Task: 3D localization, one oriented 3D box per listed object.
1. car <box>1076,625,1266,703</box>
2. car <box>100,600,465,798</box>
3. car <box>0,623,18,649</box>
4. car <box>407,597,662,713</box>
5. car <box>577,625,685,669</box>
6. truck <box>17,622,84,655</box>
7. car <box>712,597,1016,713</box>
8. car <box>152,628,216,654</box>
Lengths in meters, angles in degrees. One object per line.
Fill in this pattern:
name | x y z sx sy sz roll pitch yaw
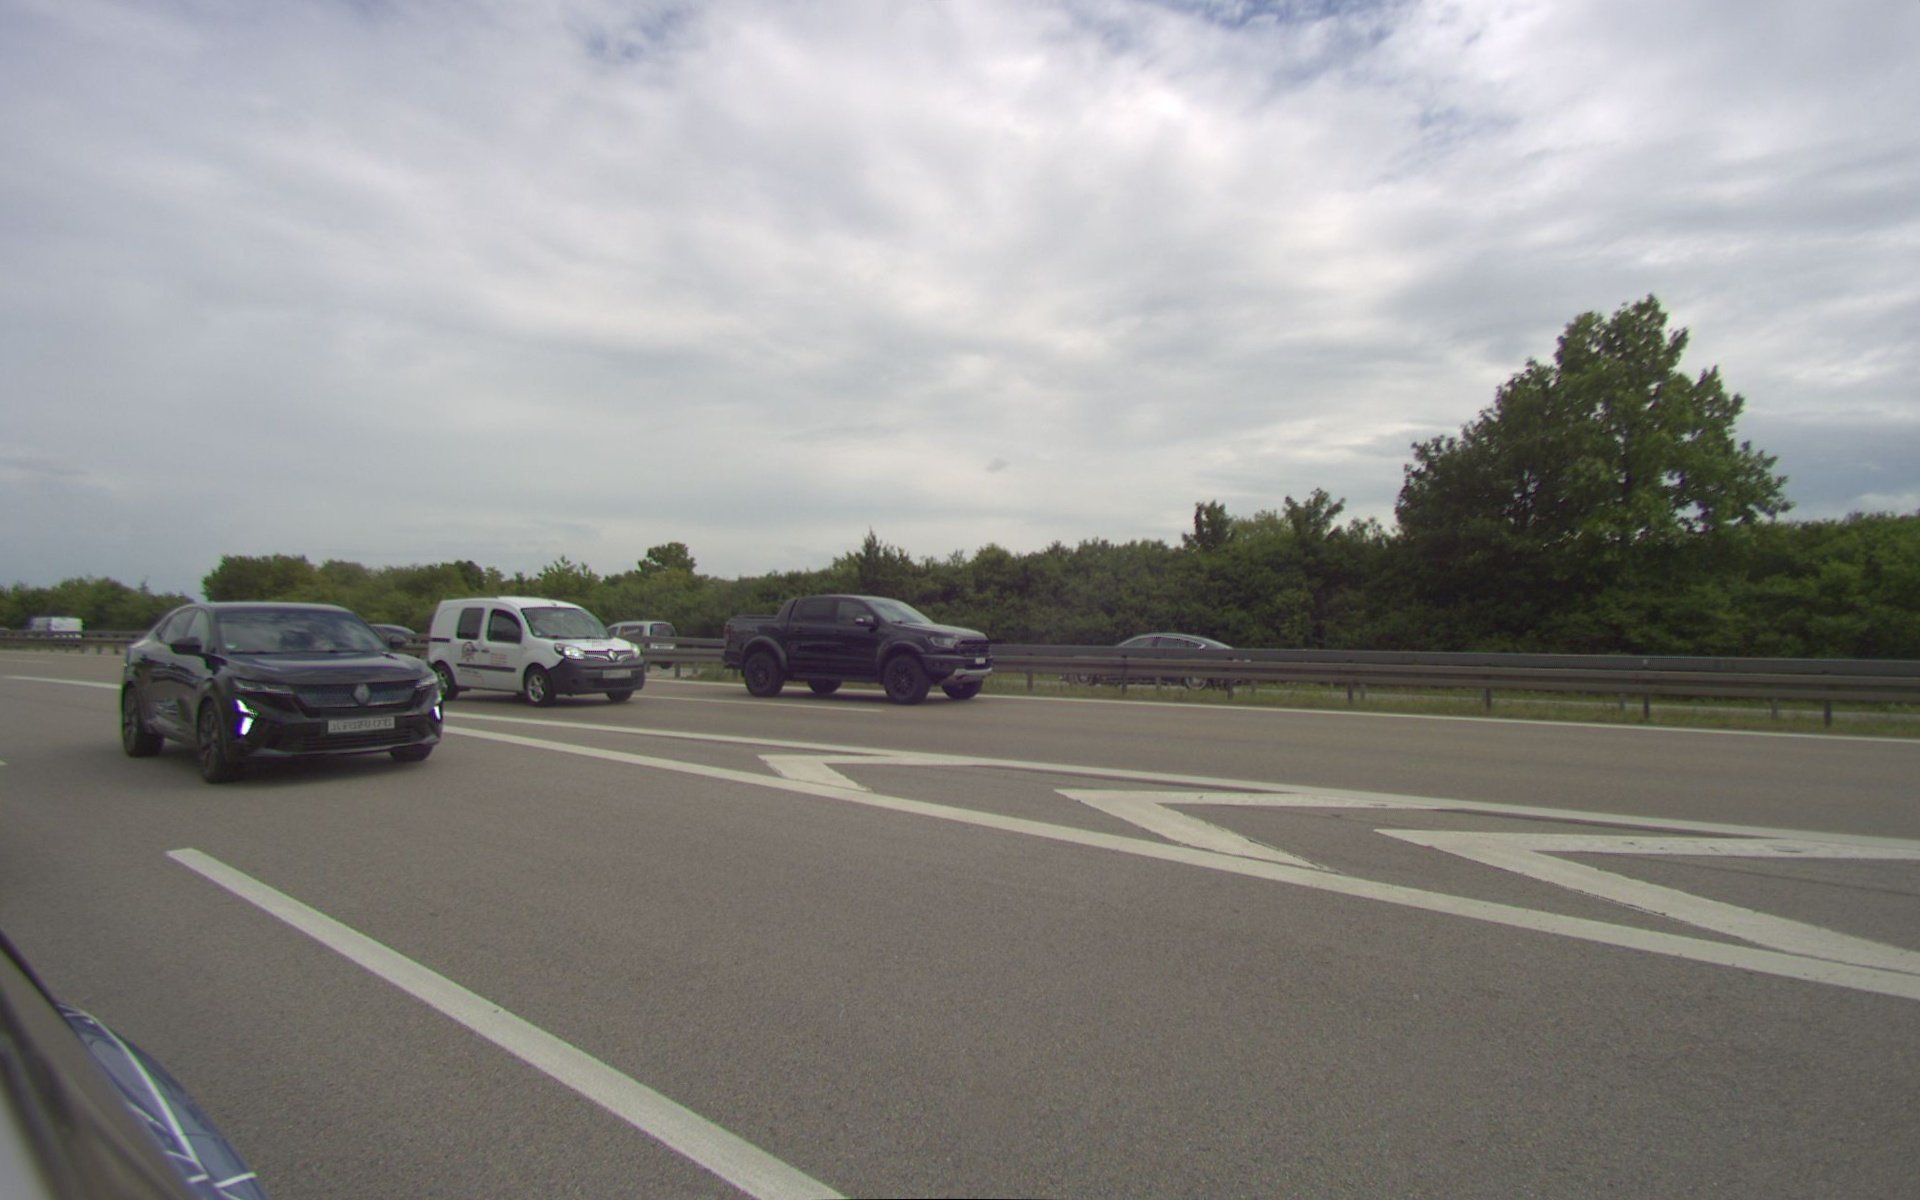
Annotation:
car | 4.977 1.453 23.961 3.985 1.697 1.979 -1 -2 31
car | -6.961 0.842 10.211 4.492 1.578 1.816 -1 -2 39
car | -78.260 2.883 81.896 3.986 2.029 1.979 0 0 31
car | -7.374 0.898 17.419 4.473 1.765 1.861 -1 -2 33
car | -13.015 1.832 40.003 3.988 1.663 1.978 -1 -2 33
truck | -57.837 2.397 64.345 4.705 2.029 1.978 -1 -2 33
car | -1.818 0.919 18.110 5.397 1.799 1.977 -1 -2 34
car | -47.890 2.500 62.442 3.989 1.530 1.977 -1 -2 34
